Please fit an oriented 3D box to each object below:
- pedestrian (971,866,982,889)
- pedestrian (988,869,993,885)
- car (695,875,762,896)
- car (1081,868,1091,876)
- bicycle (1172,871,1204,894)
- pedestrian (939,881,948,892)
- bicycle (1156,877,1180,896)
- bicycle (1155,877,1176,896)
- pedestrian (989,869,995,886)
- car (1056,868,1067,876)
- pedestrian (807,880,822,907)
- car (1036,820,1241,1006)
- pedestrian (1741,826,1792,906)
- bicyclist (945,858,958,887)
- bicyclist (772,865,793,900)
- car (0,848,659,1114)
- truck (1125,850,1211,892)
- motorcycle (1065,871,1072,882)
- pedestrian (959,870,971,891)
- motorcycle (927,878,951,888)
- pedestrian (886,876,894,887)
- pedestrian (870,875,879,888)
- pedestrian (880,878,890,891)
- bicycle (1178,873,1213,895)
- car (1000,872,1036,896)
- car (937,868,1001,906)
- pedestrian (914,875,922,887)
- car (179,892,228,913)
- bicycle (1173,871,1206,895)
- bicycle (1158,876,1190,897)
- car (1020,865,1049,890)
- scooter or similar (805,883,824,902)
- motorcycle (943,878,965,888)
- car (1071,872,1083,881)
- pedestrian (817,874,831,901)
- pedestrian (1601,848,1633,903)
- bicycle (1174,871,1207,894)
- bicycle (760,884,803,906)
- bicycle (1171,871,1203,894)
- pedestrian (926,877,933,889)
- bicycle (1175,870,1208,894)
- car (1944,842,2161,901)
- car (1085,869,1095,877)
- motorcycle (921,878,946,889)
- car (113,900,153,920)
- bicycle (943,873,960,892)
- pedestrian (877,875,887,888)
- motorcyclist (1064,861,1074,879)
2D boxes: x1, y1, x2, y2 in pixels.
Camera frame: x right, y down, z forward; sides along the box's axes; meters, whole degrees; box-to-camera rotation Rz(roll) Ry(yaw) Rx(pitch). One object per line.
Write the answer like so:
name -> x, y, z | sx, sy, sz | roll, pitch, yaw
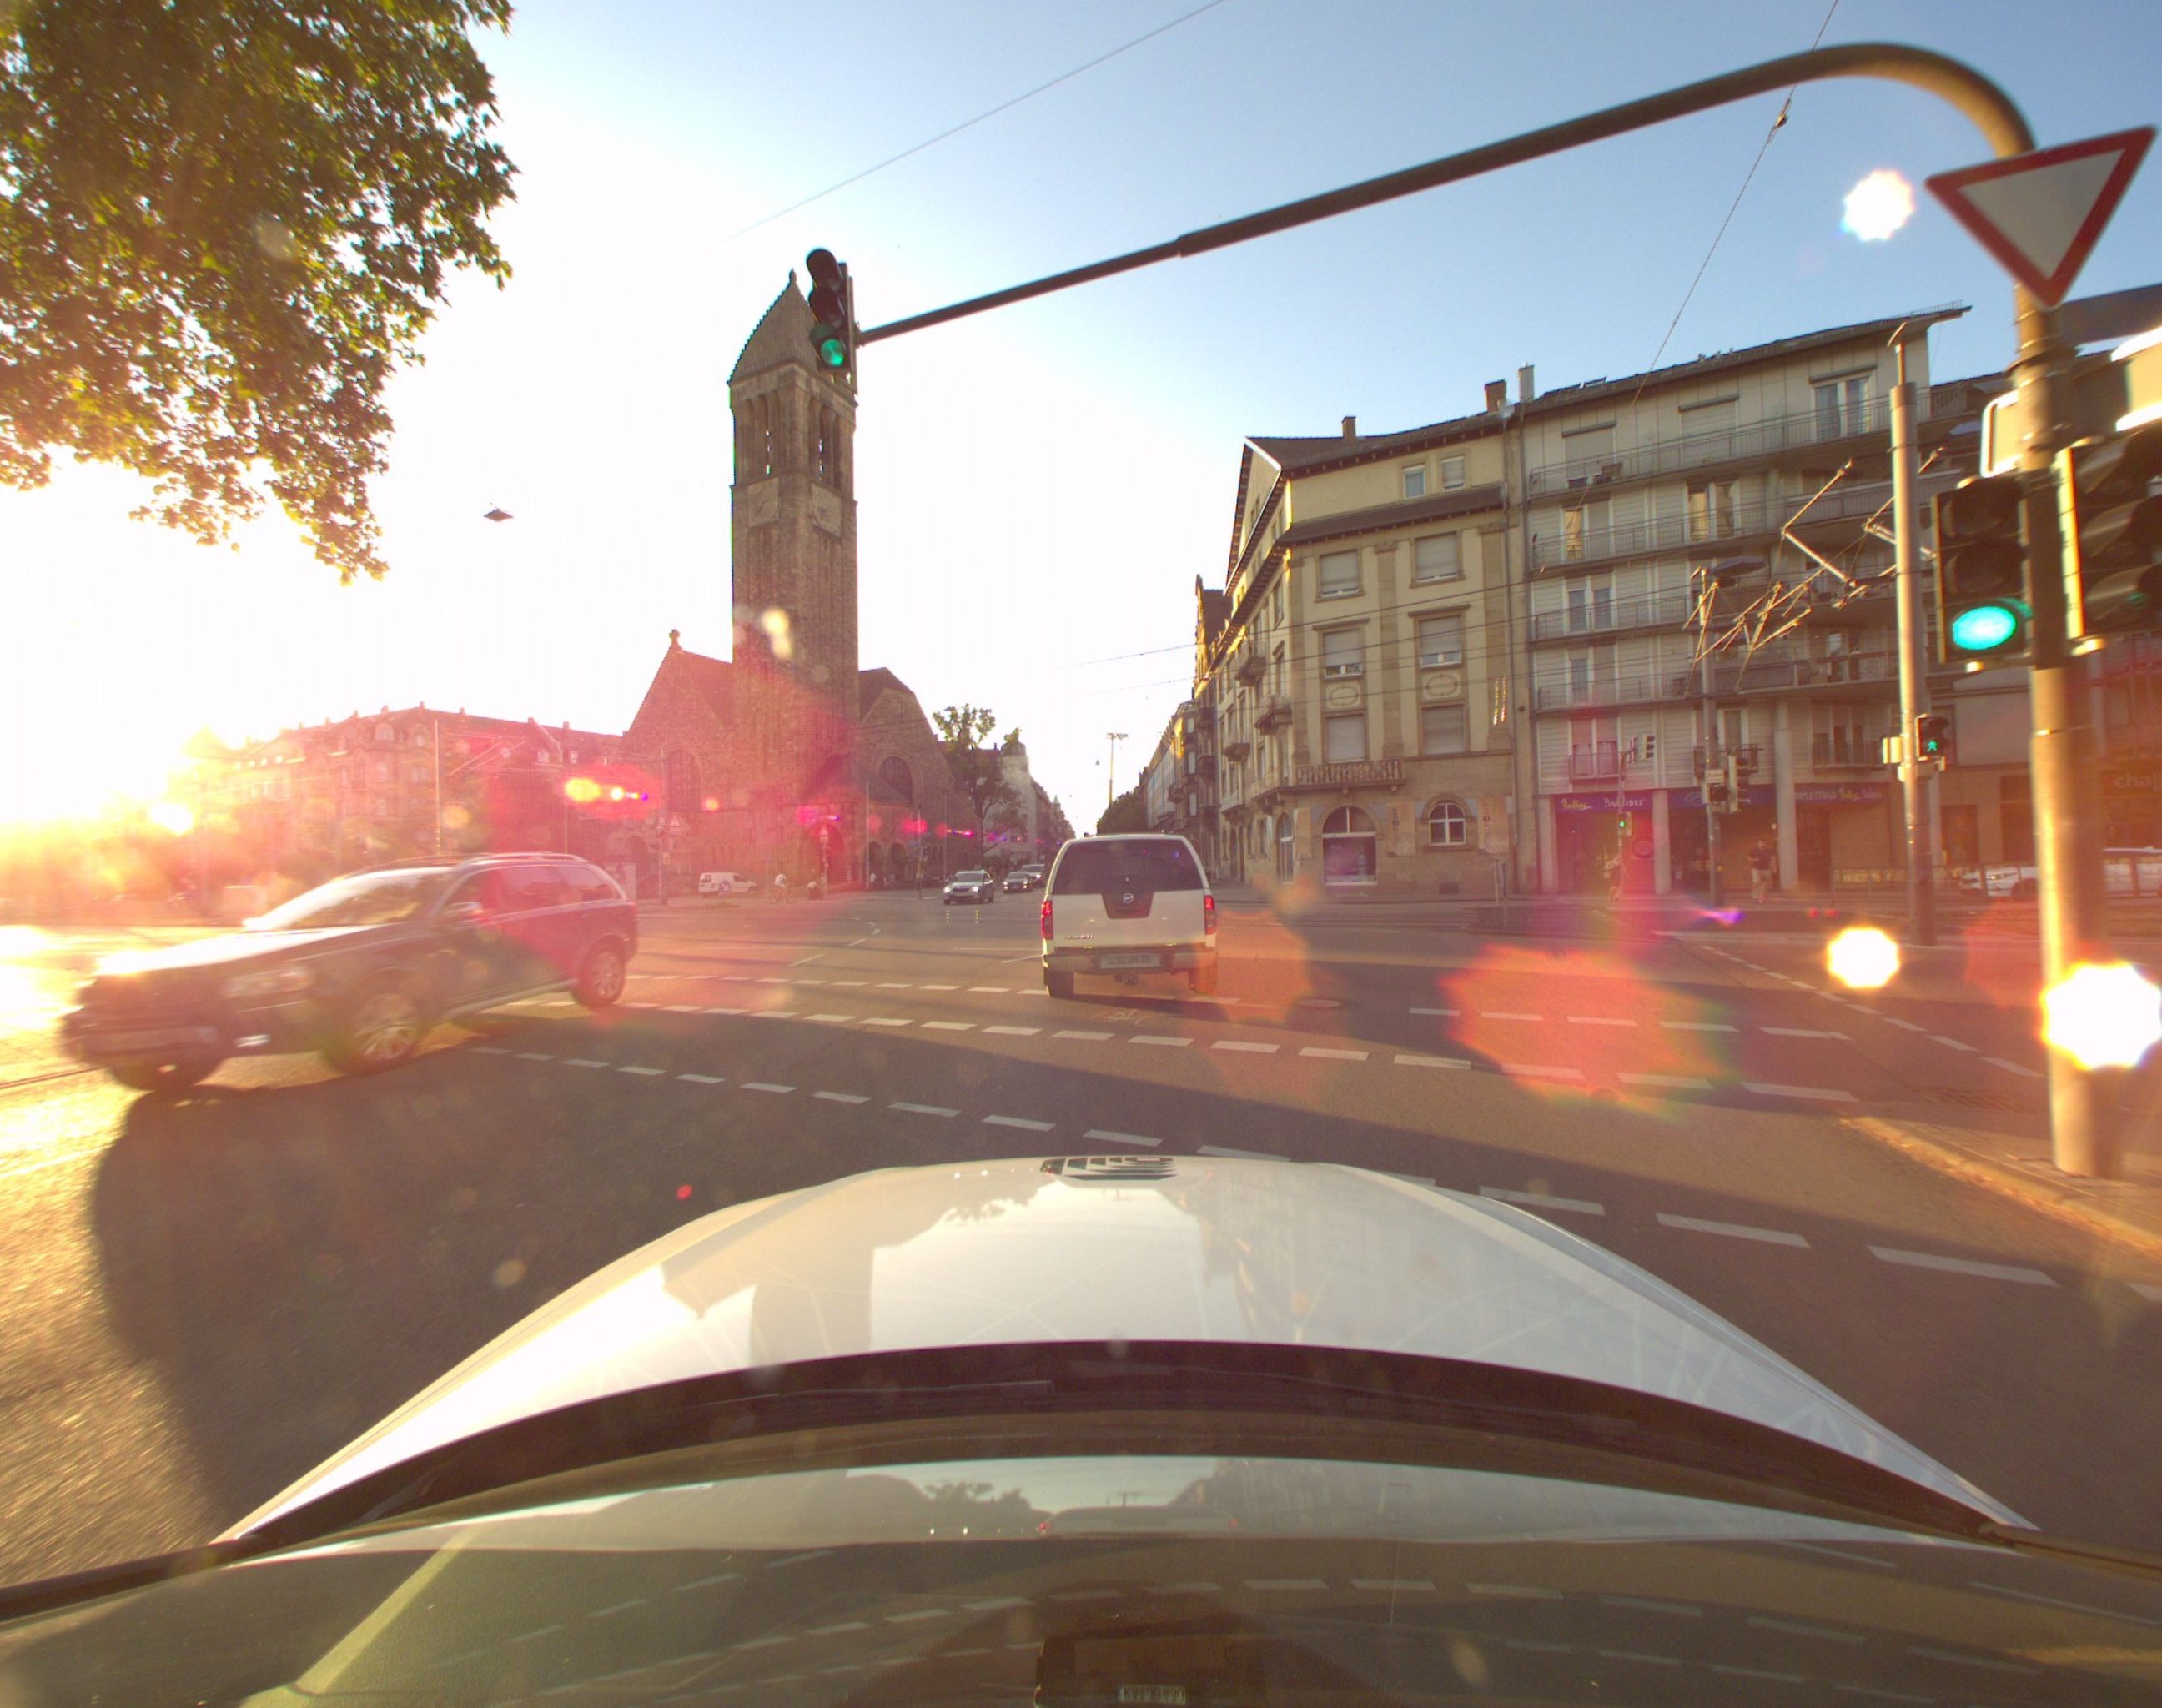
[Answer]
pedestrian -> -8.597, 1.955, 67.111 | 0.809, 1.901, 0.666 | 0, -2, 0
pedestrian -> -10.132, 2.583, 91.442 | 0.559, 1.696, 0.643 | 0, -2, -5
car -> -25.870, 2.300, 59.886 | 1.698, 1.517, 4.481 | -1, -2, 27
car -> 1.024, 3.820, 171.305 | 1.915, 1.529, 3.998 | 0, -2, 0
bicycle -> 6.497, 1.706, 49.311 | 1.812, 1.238, 0.410 | -4, -2, 0
pedestrian -> -12.988, 3.053, 76.738 | 0.547, 0.960, 0.713 | -1, -2, 23
bicycle -> 5.174, 1.921, 48.430 | 1.367, 1.024, 0.317 | -4, -2, 0
bicycle -> 4.950, 1.919, 47.726 | 1.073, 1.024, 0.317 | -4, -2, 0
pedestrian -> -9.920, 2.642, 90.593 | 0.643, 1.855, 0.559 | 0, -2, -12
car -> -4.035, 3.713, 169.121 | 1.851, 1.529, 4.001 | 0, -2, 2
pedestrian -> -16.611, 2.449, 50.781 | 0.629, 1.699, 0.605 | -1, -2, 15
car -> 0.646, 0.626, 9.940 | 1.985, 1.809, 4.002 | 0, -2, 2
pedestrian -> 19.427, 0.349, 23.106 | 0.811, 2.209, 0.875 | -1, -2, 21
bicyclist -> -7.545, 1.074, 47.581 | 0.597, 1.645, 0.963 | 0, -2, 1
bicyclist -> -16.002, 1.509, 43.652 | 0.650, 1.827, 0.865 | -1, -1, 33
car -> -6.463, 0.894, 8.012 | 1.986, 1.784, 4.799 | -2, 0, 1
truck -> 5.702, 1.099, 52.940 | 5.703, 2.565, 2.260 | 0, -2, -41
motorcycle -> -1.127, 2.042, 74.299 | 0.597, 1.044, 1.946 | 0, -2, 1
pedestrian -> -9.562, 2.166, 67.106 | 0.809, 1.670, 0.859 | 0, -2, 0
motorcycle -> -13.705, 2.811, 78.605 | 2.239, 0.988, 0.707 | 0, -2, -4
pedestrian -> -16.605, 2.417, 70.840 | 0.550, 0.960, 0.708 | 0, -2, -4
pedestrian -> -15.189, 2.012, 59.901 | 0.517, 0.960, 0.482 | -1, -2, 22
pedestrian -> -14.651, 2.308, 60.769 | 0.473, 0.960, 0.526 | -2, -2, 32
bicycle -> 6.496, 1.699, 46.324 | 1.812, 1.150, 0.636 | -4, -2, 0
car -> -4.346, 2.074, 56.742 | 1.986, 1.477, 4.140 | -2, -1, 1
car -> -5.008, 1.467, 37.094 | 1.985, 1.558, 4.771 | -2, -2, 3
pedestrian -> -13.057, 2.142, 65.260 | 0.517, 0.960, 0.482 | -1, -2, 20
car -> -88.646, 4.894, 82.301 | 3.952, 2.014, 2.010 | -1, -2, 21
bicycle -> 6.408, 1.705, 47.981 | 1.812, 1.238, 0.477 | -4, -2, 0
bicycle -> 5.331, 1.847, 46.829 | 1.721, 1.083, 0.317 | -4, -2, 0
car -> -3.949, 1.984, 69.505 | 1.986, 2.014, 4.951 | -2, -2, 1
scooter or similar -> -16.219, 2.342, 49.636 | 0.629, 1.103, 1.082 | -1, -2, 13
motorcycle -> -12.580, 2.864, 80.854 | 2.146, 0.988, 0.597 | -1, -2, 22
car -> -0.632, 3.804, 137.166 | 1.854, 1.529, 3.996 | 0, -2, -3
pedestrian -> -15.983, 2.092, 50.641 | 0.629, 1.699, 0.605 | -1, -2, 13
pedestrian -> 17.582, 0.694, 26.717 | 0.779, 1.779, 0.546 | -1, -2, 28
bicycle -> 6.541, 1.689, 48.704 | 1.812, 1.238, 0.412 | -4, -2, 0
bicycle -> -16.020, 2.164, 43.587 | 0.650, 1.078, 2.259 | -1, -1, 31
bicycle -> 6.478, 1.723, 49.843 | 1.849, 1.238, 0.531 | -4, -2, 0
pedestrian -> -12.084, 2.312, 65.052 | 0.522, 0.960, 0.477 | 0, -2, -13
bicycle -> 6.409, 1.610, 47.272 | 1.812, 1.238, 0.488 | -4, -2, 0
car -> 26.431, 0.489, 21.920 | 3.950, 1.486, 1.860 | -1, -2, 26
car -> 1.766, 3.809, 160.953 | 1.851, 1.529, 4.001 | 0, -2, 2
motorcycle -> -13.893, 2.757, 76.583 | 2.239, 0.988, 0.707 | 0, -2, -4
car -> -103.039, 6.082, 88.556 | 3.949, 2.014, 2.012 | -1, -2, 29
bicycle -> -7.565, 1.662, 47.609 | 0.597, 1.044, 1.946 | 0, -2, 1
pedestrian -> -14.581, 2.000, 59.602 | 0.517, 0.960, 0.482 | -1, -2, 22
motorcyclist -> -1.113, 1.490, 74.297 | 0.871, 1.645, 0.963 | 0, -2, 1
